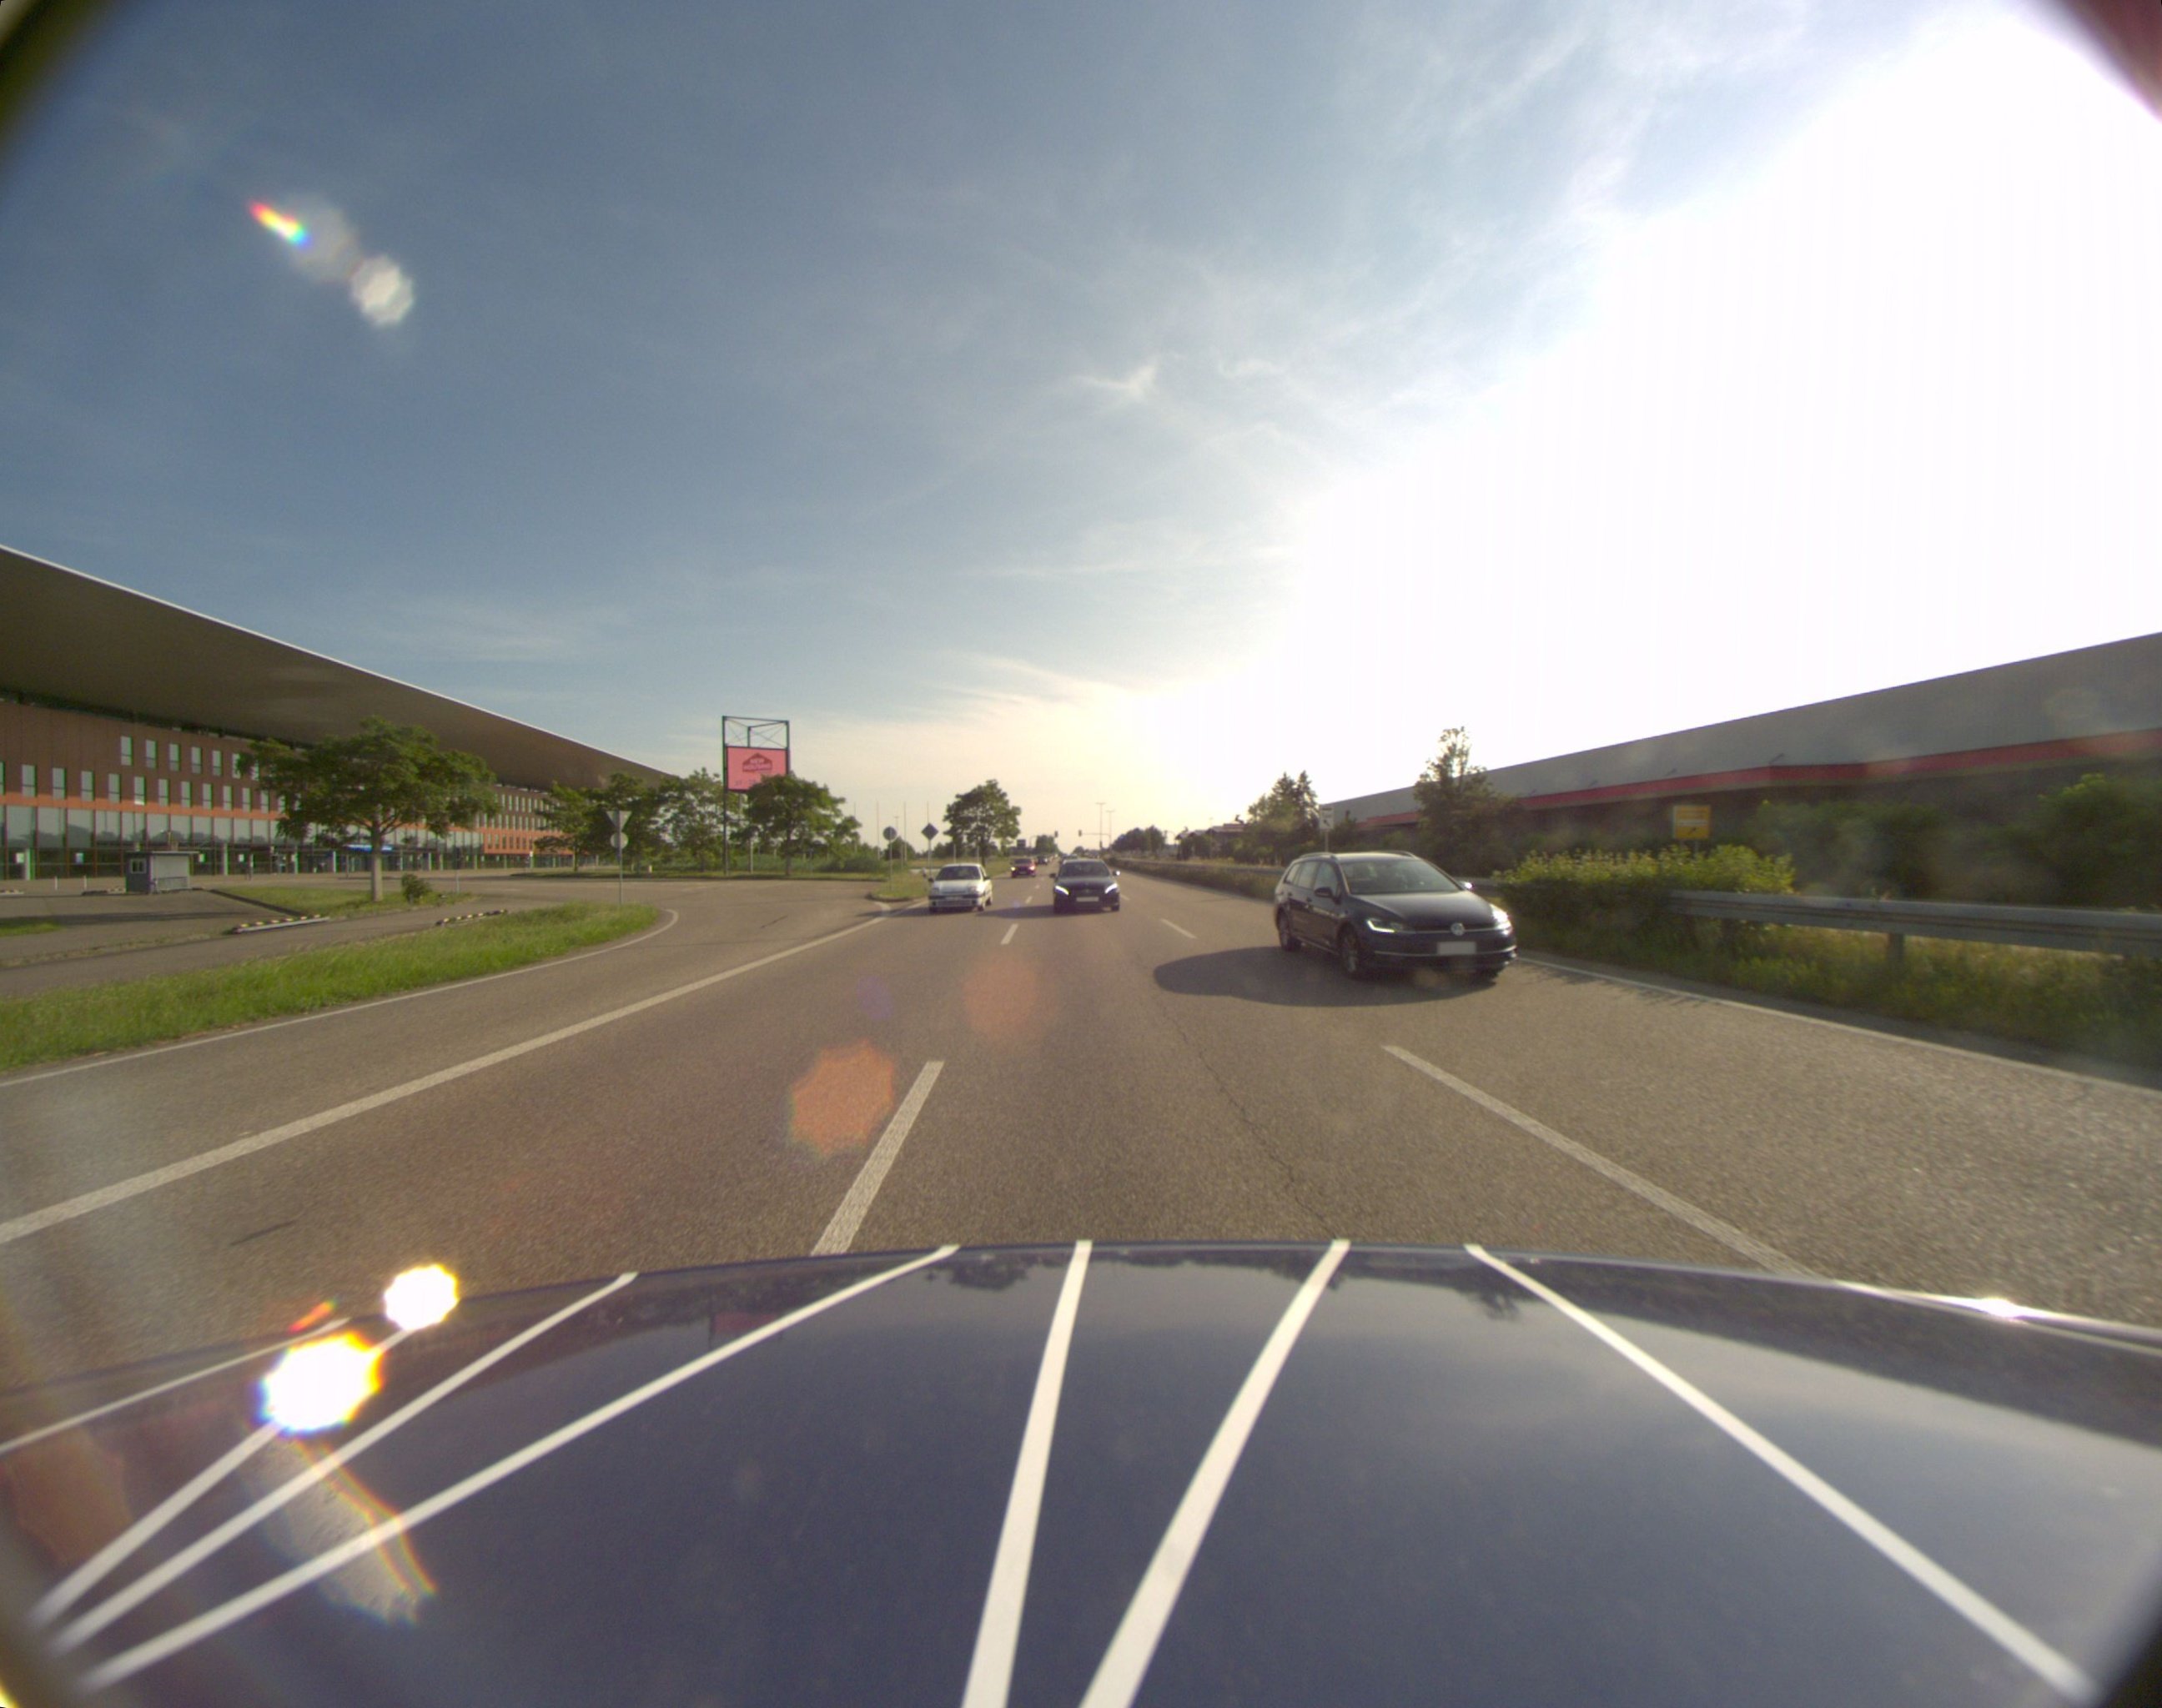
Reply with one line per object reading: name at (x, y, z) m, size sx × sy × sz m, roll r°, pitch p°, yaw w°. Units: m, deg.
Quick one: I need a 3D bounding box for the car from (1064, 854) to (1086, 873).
car at (-0.528, 0.762, 63.086) m, size 1.758 × 1.499 × 3.421 m, roll -1°, pitch 0°, yaw -2°

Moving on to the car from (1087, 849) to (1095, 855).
car at (2.667, -0.614, 202.060) m, size 1.751 × 1.512 × 3.738 m, roll -2°, pitch 0°, yaw -3°

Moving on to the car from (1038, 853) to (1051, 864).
car at (-5.506, 0.698, 113.990) m, size 1.751 × 1.512 × 3.739 m, roll -2°, pitch 0°, yaw -1°

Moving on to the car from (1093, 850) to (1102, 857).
car at (3.797, -0.109, 174.102) m, size 1.711 × 1.428 × 3.564 m, roll -2°, pitch 0°, yaw -1°

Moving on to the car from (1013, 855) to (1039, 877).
car at (-4.130, 0.892, 57.753) m, size 1.751 × 1.512 × 3.739 m, roll -2°, pitch 0°, yaw -1°

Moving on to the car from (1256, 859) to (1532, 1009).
car at (3.773, 0.841, 10.192) m, size 1.650 × 1.462 × 4.775 m, roll -1°, pitch 0°, yaw -1°

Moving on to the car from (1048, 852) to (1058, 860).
car at (-5.248, 0.325, 144.081) m, size 1.751 × 1.512 × 3.739 m, roll -2°, pitch 0°, yaw -1°

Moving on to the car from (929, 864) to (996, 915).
car at (-3.592, 1.040, 23.539) m, size 1.578 × 1.371 × 3.451 m, roll -2°, pitch 0°, yaw -1°

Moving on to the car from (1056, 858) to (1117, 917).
car at (0.104, 0.899, 22.390) m, size 1.577 × 1.462 × 5.021 m, roll -1°, pitch 0°, yaw -1°

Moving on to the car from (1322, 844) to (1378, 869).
car at (15.553, 0.124, 44.146) m, size 1.784 × 1.416 × 3.999 m, roll -1°, pitch 0°, yaw -1°
